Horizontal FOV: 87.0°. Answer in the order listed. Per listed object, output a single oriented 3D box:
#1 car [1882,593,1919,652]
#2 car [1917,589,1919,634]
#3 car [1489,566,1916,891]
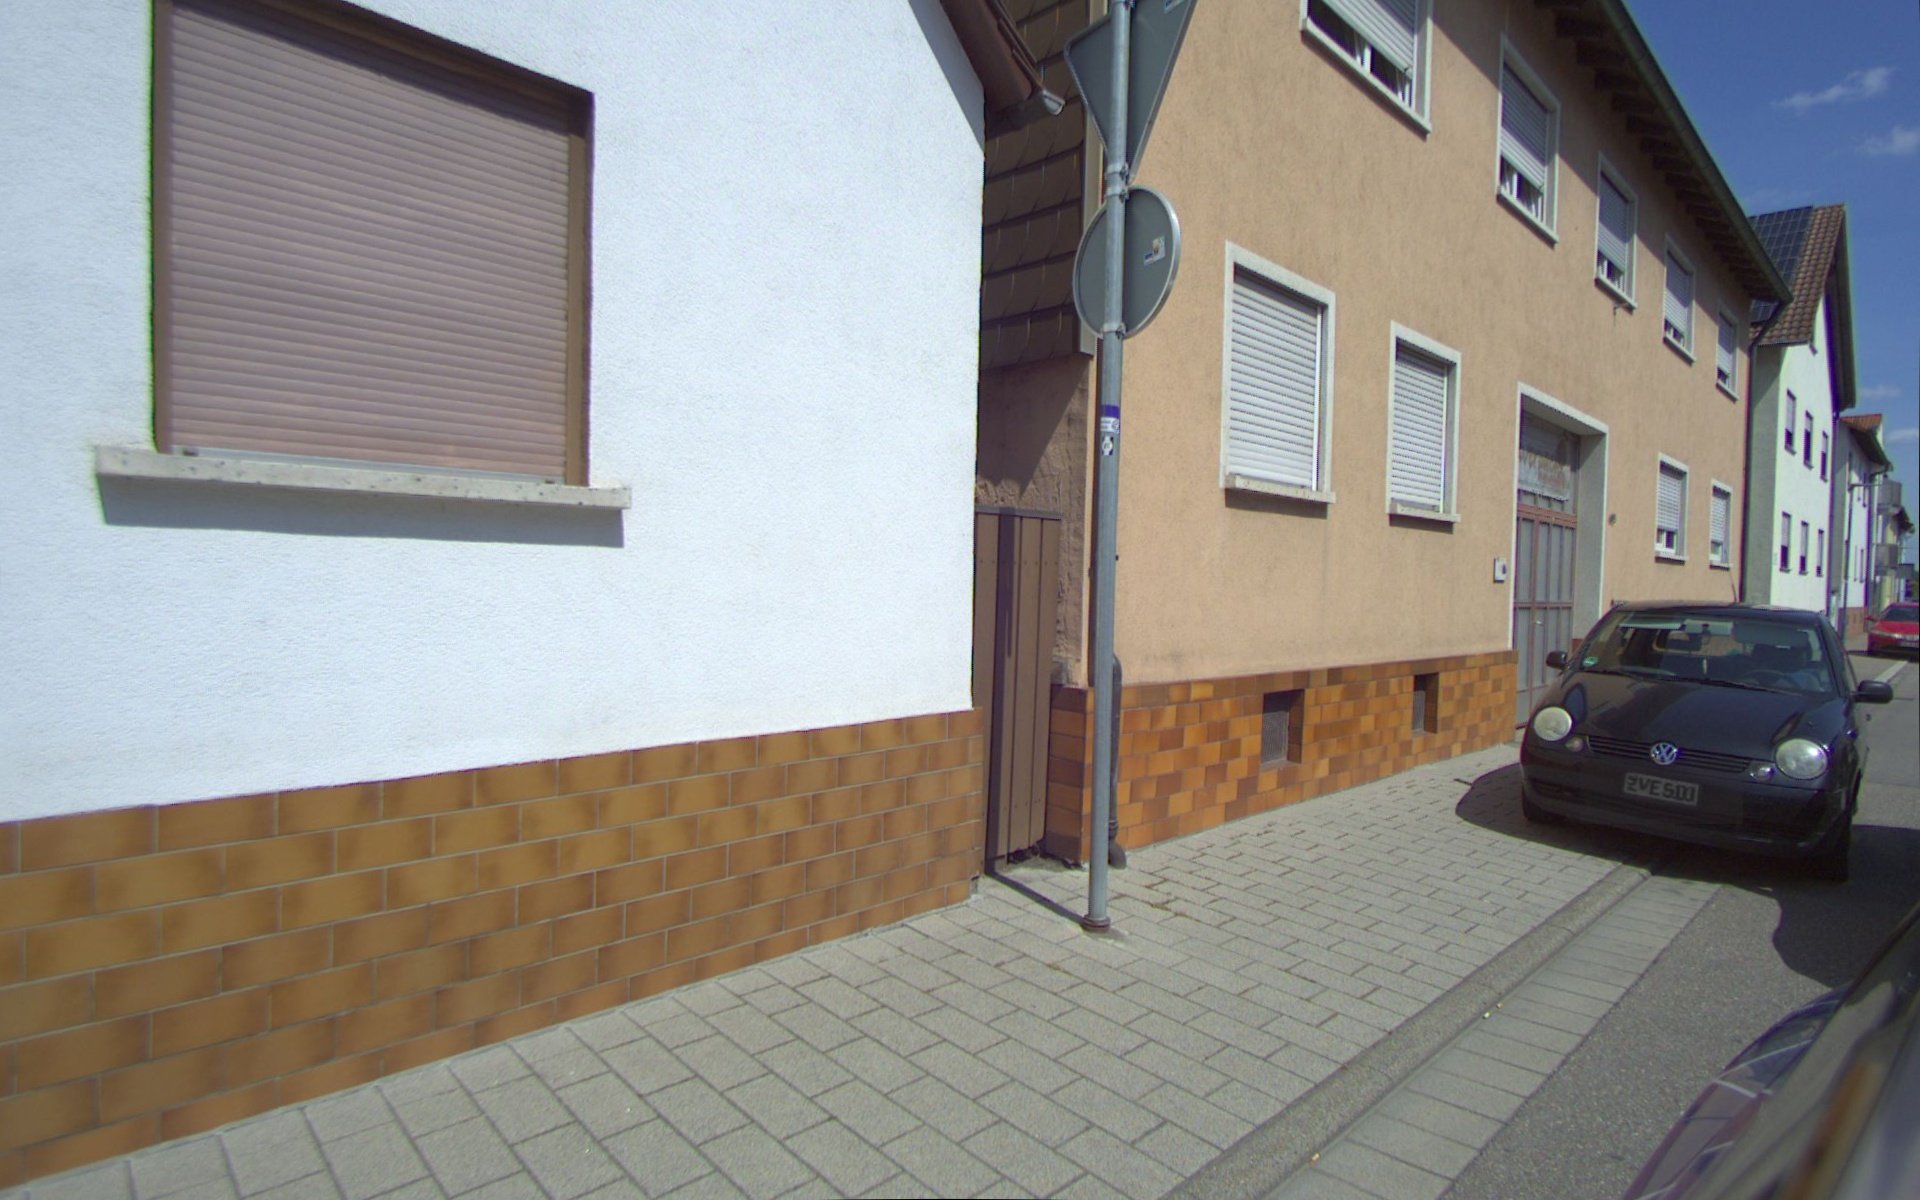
[{"bbox_3d":[25.431,0.579,26.448,1.761,1.446,4.121,3,2,45],"label":"car"},{"bbox_3d":[33.116,0.416,33.639,1.761,1.446,4.121,3,2,45],"label":"car"},{"bbox_3d":[5.056,0.607,6.713,3.570,1.481,1.688,0,4,-45],"label":"car"}]
